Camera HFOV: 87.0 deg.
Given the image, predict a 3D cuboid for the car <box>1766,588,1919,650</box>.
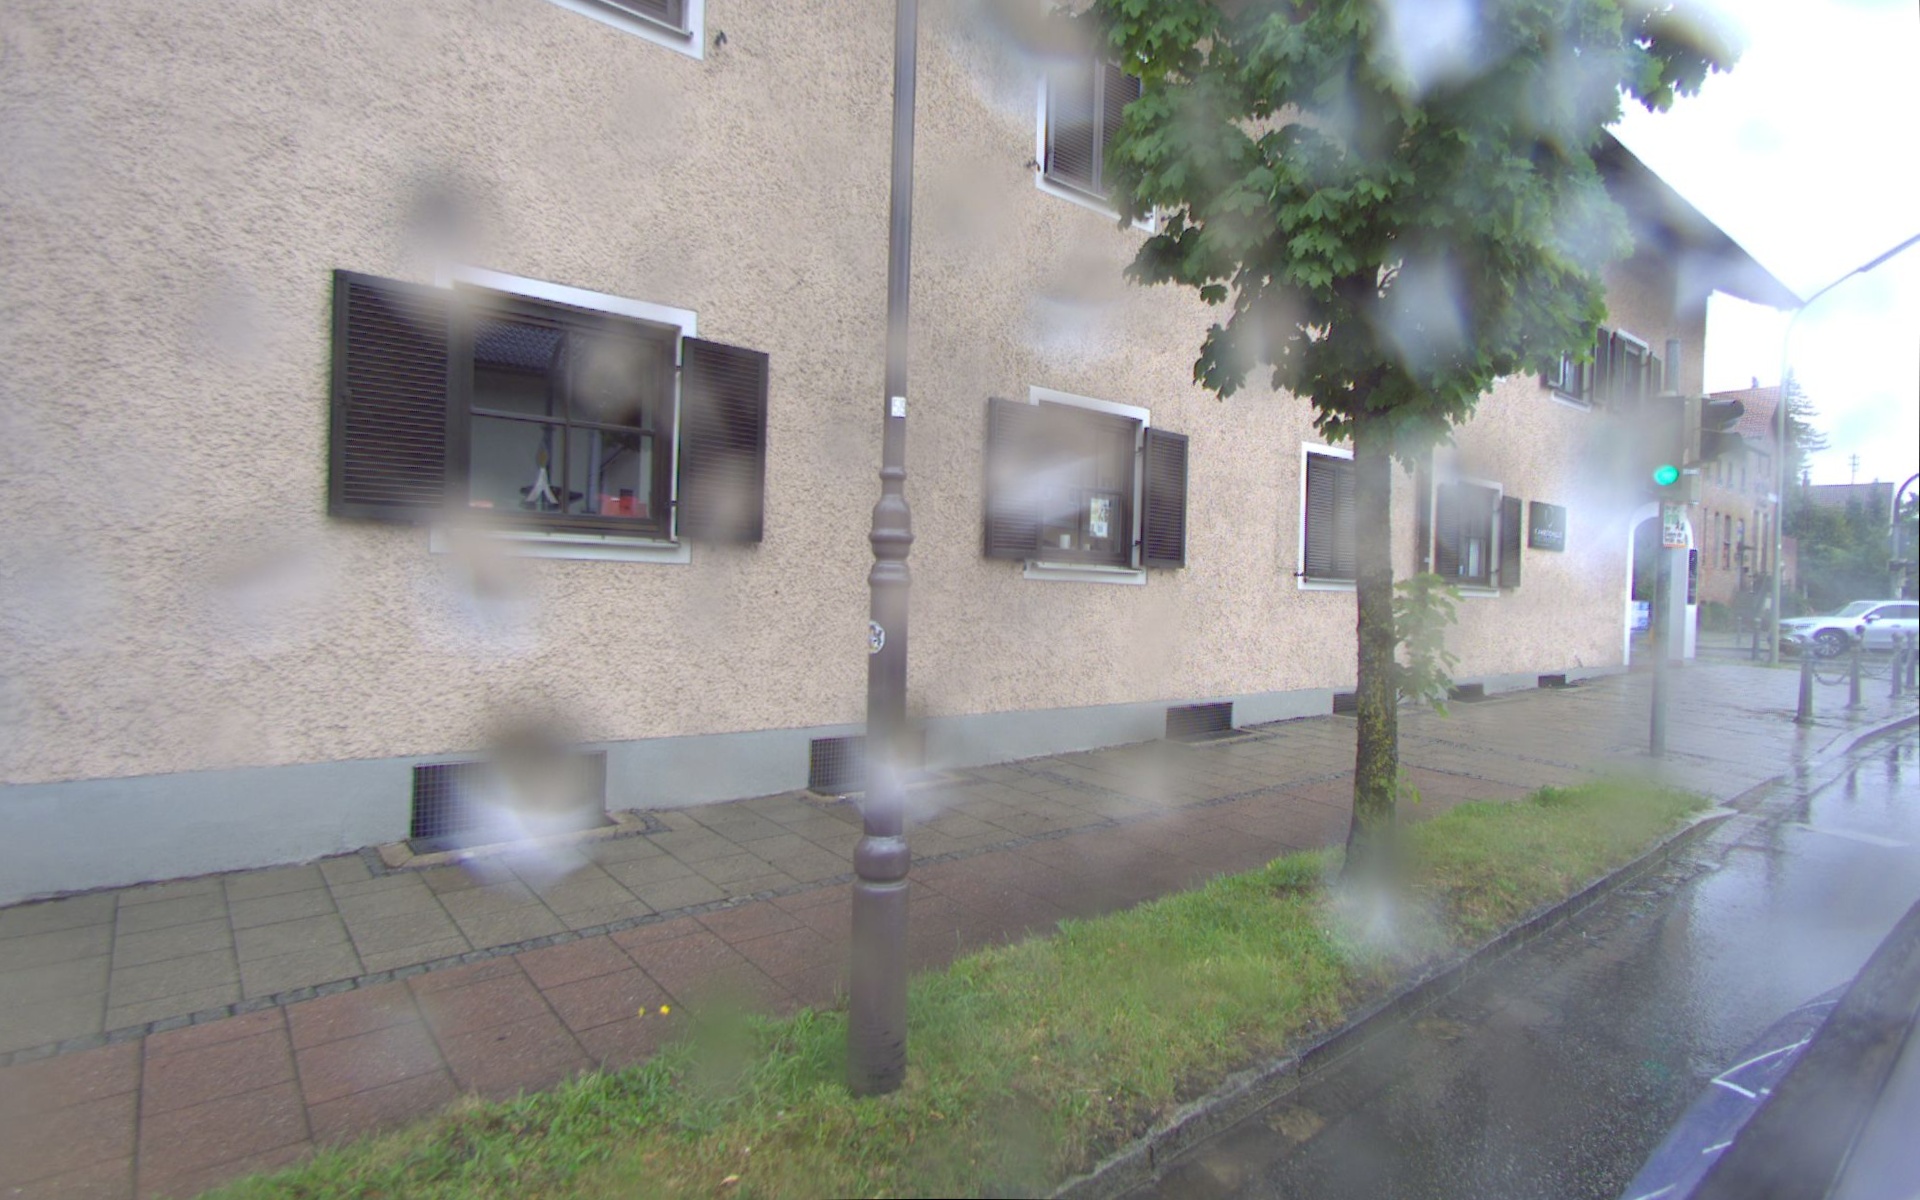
[{"bbox_3d":[25.061,0.509,27.489,4.543,1.517,1.729,2,2,15],"label":"car"}]
